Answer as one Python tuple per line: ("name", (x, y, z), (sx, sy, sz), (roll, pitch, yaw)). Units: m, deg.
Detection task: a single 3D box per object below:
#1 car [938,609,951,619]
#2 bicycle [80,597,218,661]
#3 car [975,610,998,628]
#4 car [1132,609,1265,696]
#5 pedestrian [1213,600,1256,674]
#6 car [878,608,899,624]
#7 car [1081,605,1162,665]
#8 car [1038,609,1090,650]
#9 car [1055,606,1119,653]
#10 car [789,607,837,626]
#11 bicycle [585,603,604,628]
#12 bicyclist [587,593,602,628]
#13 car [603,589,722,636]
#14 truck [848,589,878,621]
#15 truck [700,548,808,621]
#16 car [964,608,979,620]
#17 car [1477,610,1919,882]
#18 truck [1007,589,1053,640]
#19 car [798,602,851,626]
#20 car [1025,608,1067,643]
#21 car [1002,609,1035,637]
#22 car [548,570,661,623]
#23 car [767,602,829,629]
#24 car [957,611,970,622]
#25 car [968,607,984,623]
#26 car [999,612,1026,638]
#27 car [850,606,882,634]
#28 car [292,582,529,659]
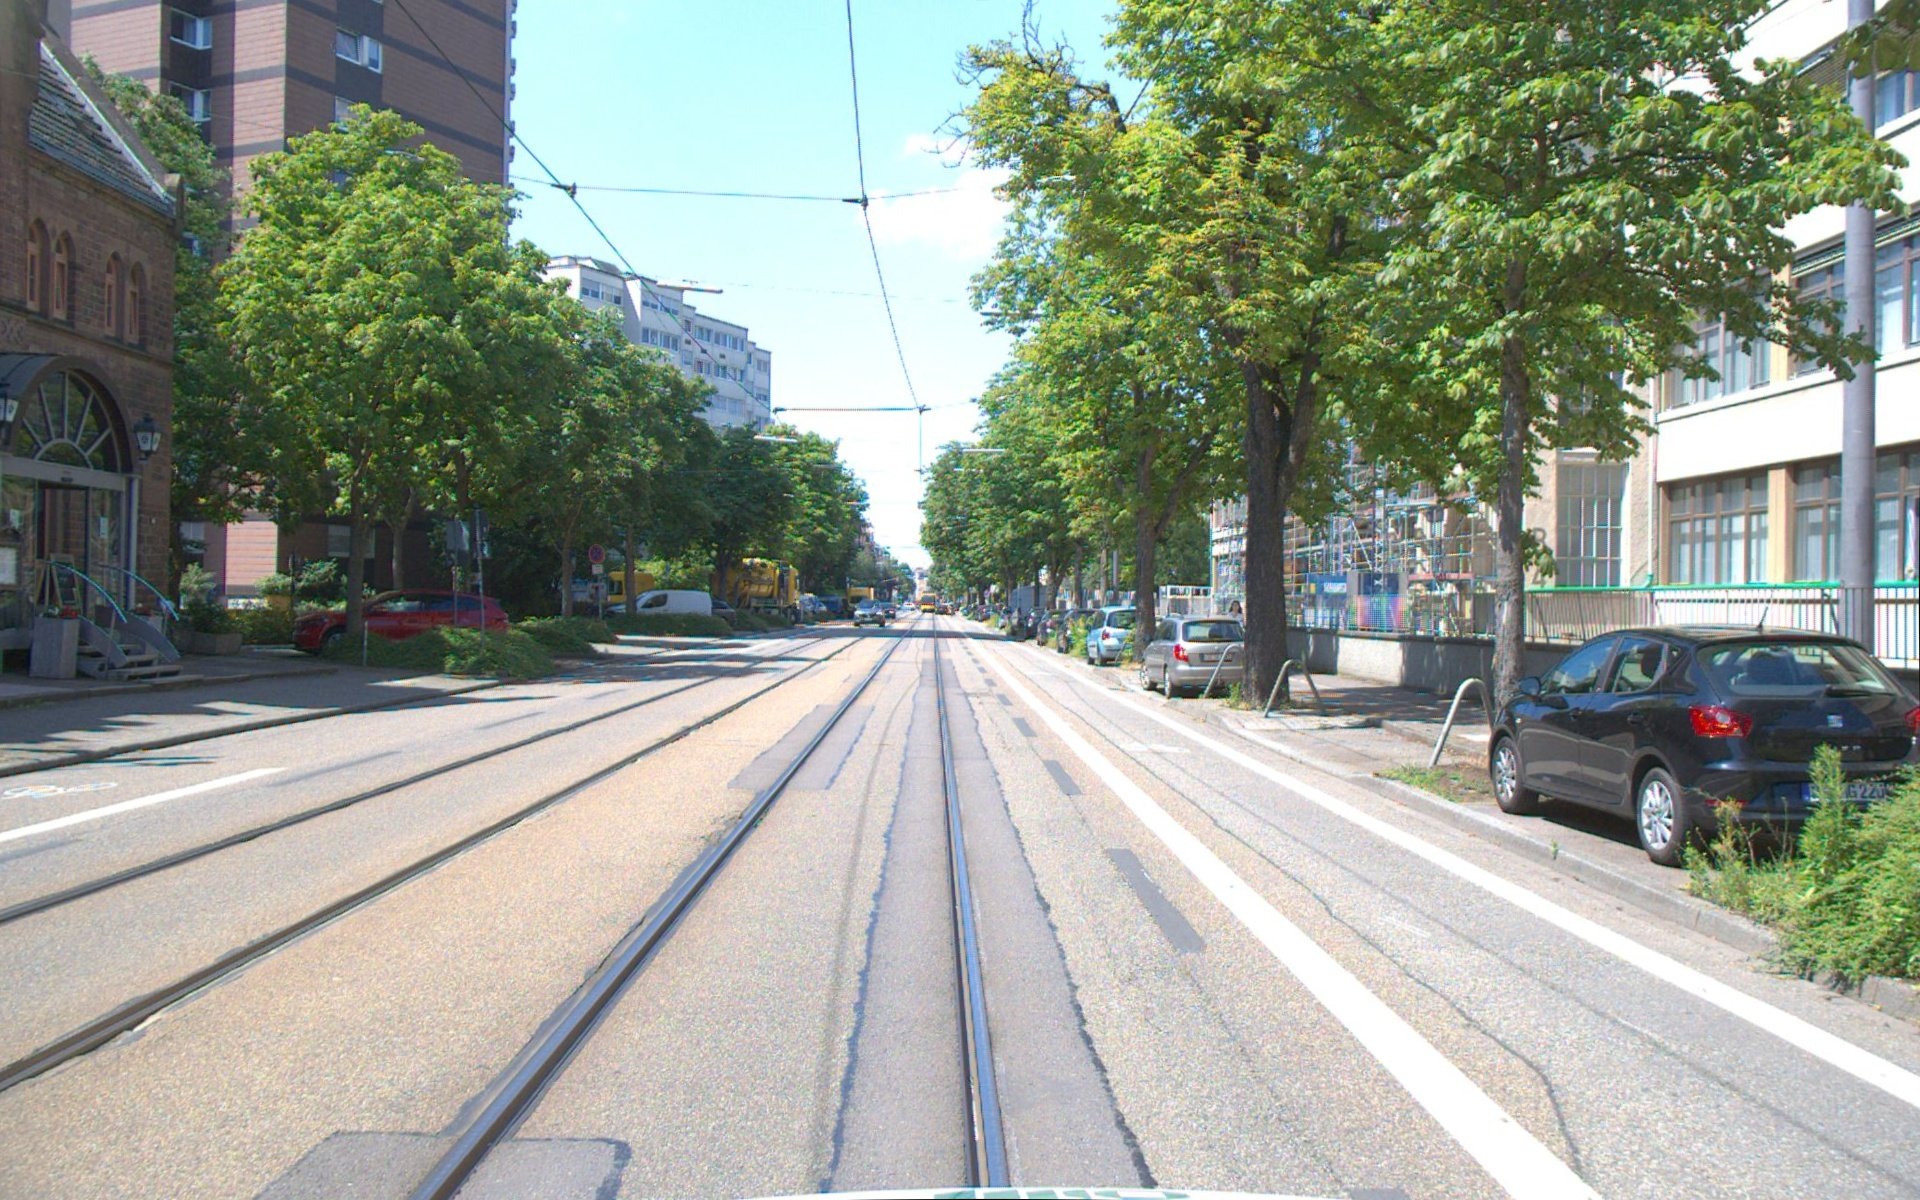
("car", (-2.066, 1.908, 225.660), (1.745, 1.369, 3.415), (0, -1, -1))
("bicycle", (-13.769, 0.490, 28.146), (1.964, 0.906, 0.594), (6, -1, -18))
("car", (2.183, 1.599, 138.921), (1.606, 1.511, 3.869), (0, -1, -4))
("car", (4.504, 0.957, 31.769), (1.638, 1.525, 4.362), (1, 0, -4))
("pedestrian", (6.196, 0.826, 37.364), (0.783, 1.616, 0.919), (-1, 0, -2))
("car", (-6.283, 1.393, 145.723), (1.738, 1.422, 4.286), (0, 0, -1))
("car", (4.325, 0.911, 44.754), (1.637, 1.544, 4.200), (1, 0, -2))
("car", (4.016, 1.125, 64.437), (1.787, 1.497, 4.486), (1, 0, 0))
("car", (4.135, 0.933, 54.290), (1.637, 1.463, 4.040), (1, 0, -2))
("car", (-12.570, 1.414, 141.734), (1.730, 1.458, 3.978), (-3, -1, 41))
("bicycle", (-16.020, 0.685, 72.504), (0.507, 1.065, 1.875), (2, 0, -3))
("bicyclist", (-16.011, 0.458, 72.524), (0.471, 1.507, 0.780), (2, -1, -3))
("car", (-12.432, 0.531, 69.181), (4.492, 1.822, 1.879), (2, 0, -34))
("truck", (-9.049, 0.495, 155.011), (2.312, 2.902, 7.378), (0, 0, 1))
("truck", (-12.159, -0.808, 98.864), (2.657, 3.909, 10.971), (2, -1, 13))
("car", (1.413, 1.733, 199.645), (1.676, 1.448, 4.308), (0, -1, -1))
("car", (5.038, 0.839, 11.342), (1.637, 1.516, 3.979), (1, 0, -2))
("truck", (3.590, 0.737, 85.898), (1.974, 2.532, 5.954), (1, 0, -2))
("car", (-12.629, 1.295, 154.482), (4.718, 2.098, 1.997), (-1, -1, -40))
("car", (3.912, 1.139, 75.450), (1.786, 1.497, 4.401), (1, 0, 2))
("car", (3.301, 1.280, 93.646), (1.611, 1.561, 3.946), (1, 0, -1))
("car", (-19.388, -0.162, 90.477), (2.137, 2.611, 6.712), (1, -2, 29))
("car", (-12.555, 1.201, 128.349), (1.887, 1.969, 4.729), (-2, -1, 41))
("car", (0.463, 2.194, 217.653), (1.676, 1.448, 4.308), (0, -1, -1))
("car", (1.745, 1.650, 180.323), (1.560, 1.645, 3.906), (0, -1, -1))
("car", (3.326, 1.567, 105.445), (1.610, 1.561, 3.785), (1, 0, 0))
("car", (-5.846, 1.218, 103.088), (1.793, 1.710, 4.183), (0, 0, -1))
("car", (-12.168, 0.467, 36.677), (4.713, 1.594, 1.982), (1, -1, -30))
